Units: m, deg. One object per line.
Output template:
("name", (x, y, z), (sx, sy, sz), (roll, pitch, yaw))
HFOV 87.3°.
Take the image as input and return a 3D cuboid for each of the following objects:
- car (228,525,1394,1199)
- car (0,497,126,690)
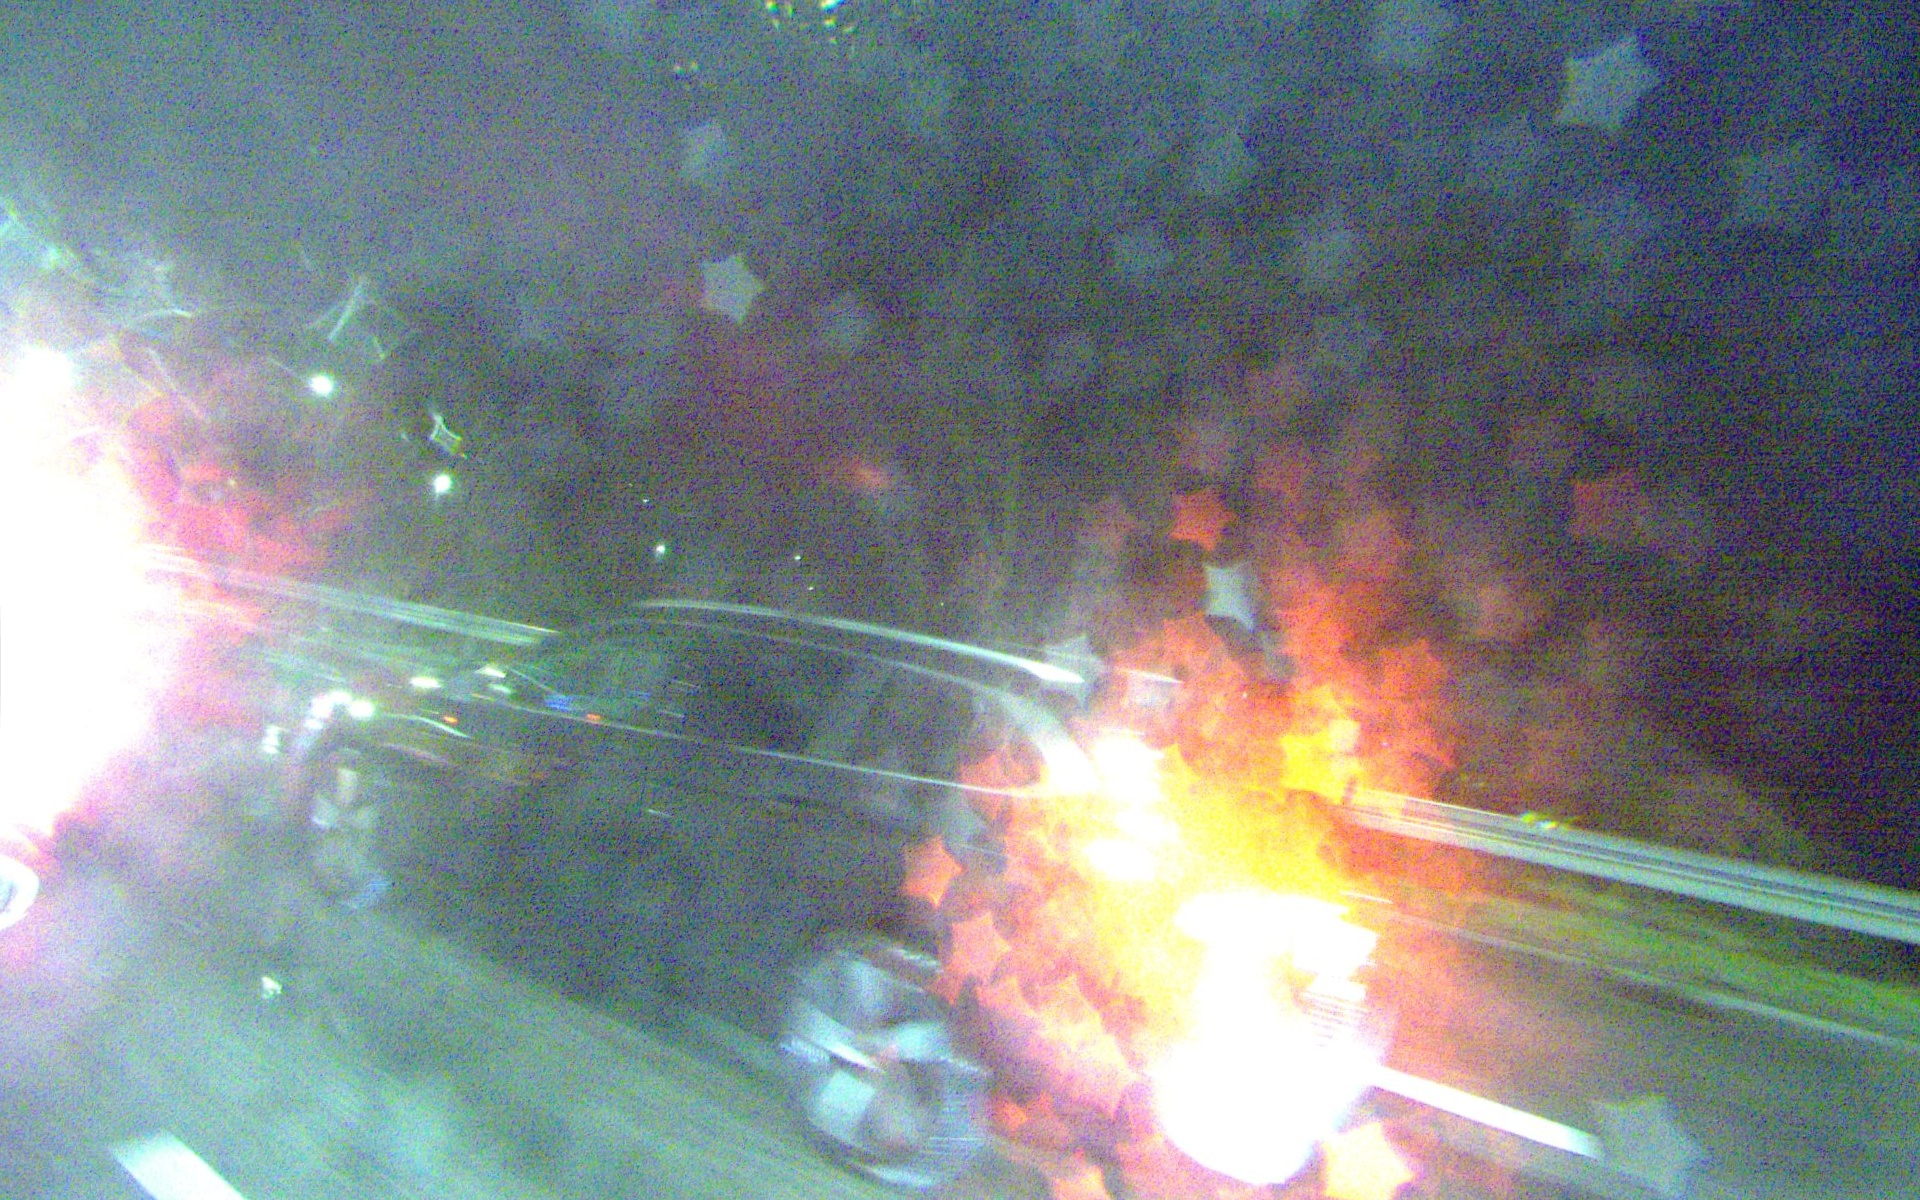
("car", (-0.865, 0.711, 4.045), (4.485, 1.522, 1.677), (6, -4, 32))
("car", (-9.475, -0.238, 9.031), (3.893, 1.539, 1.681), (6, -2, 30))
